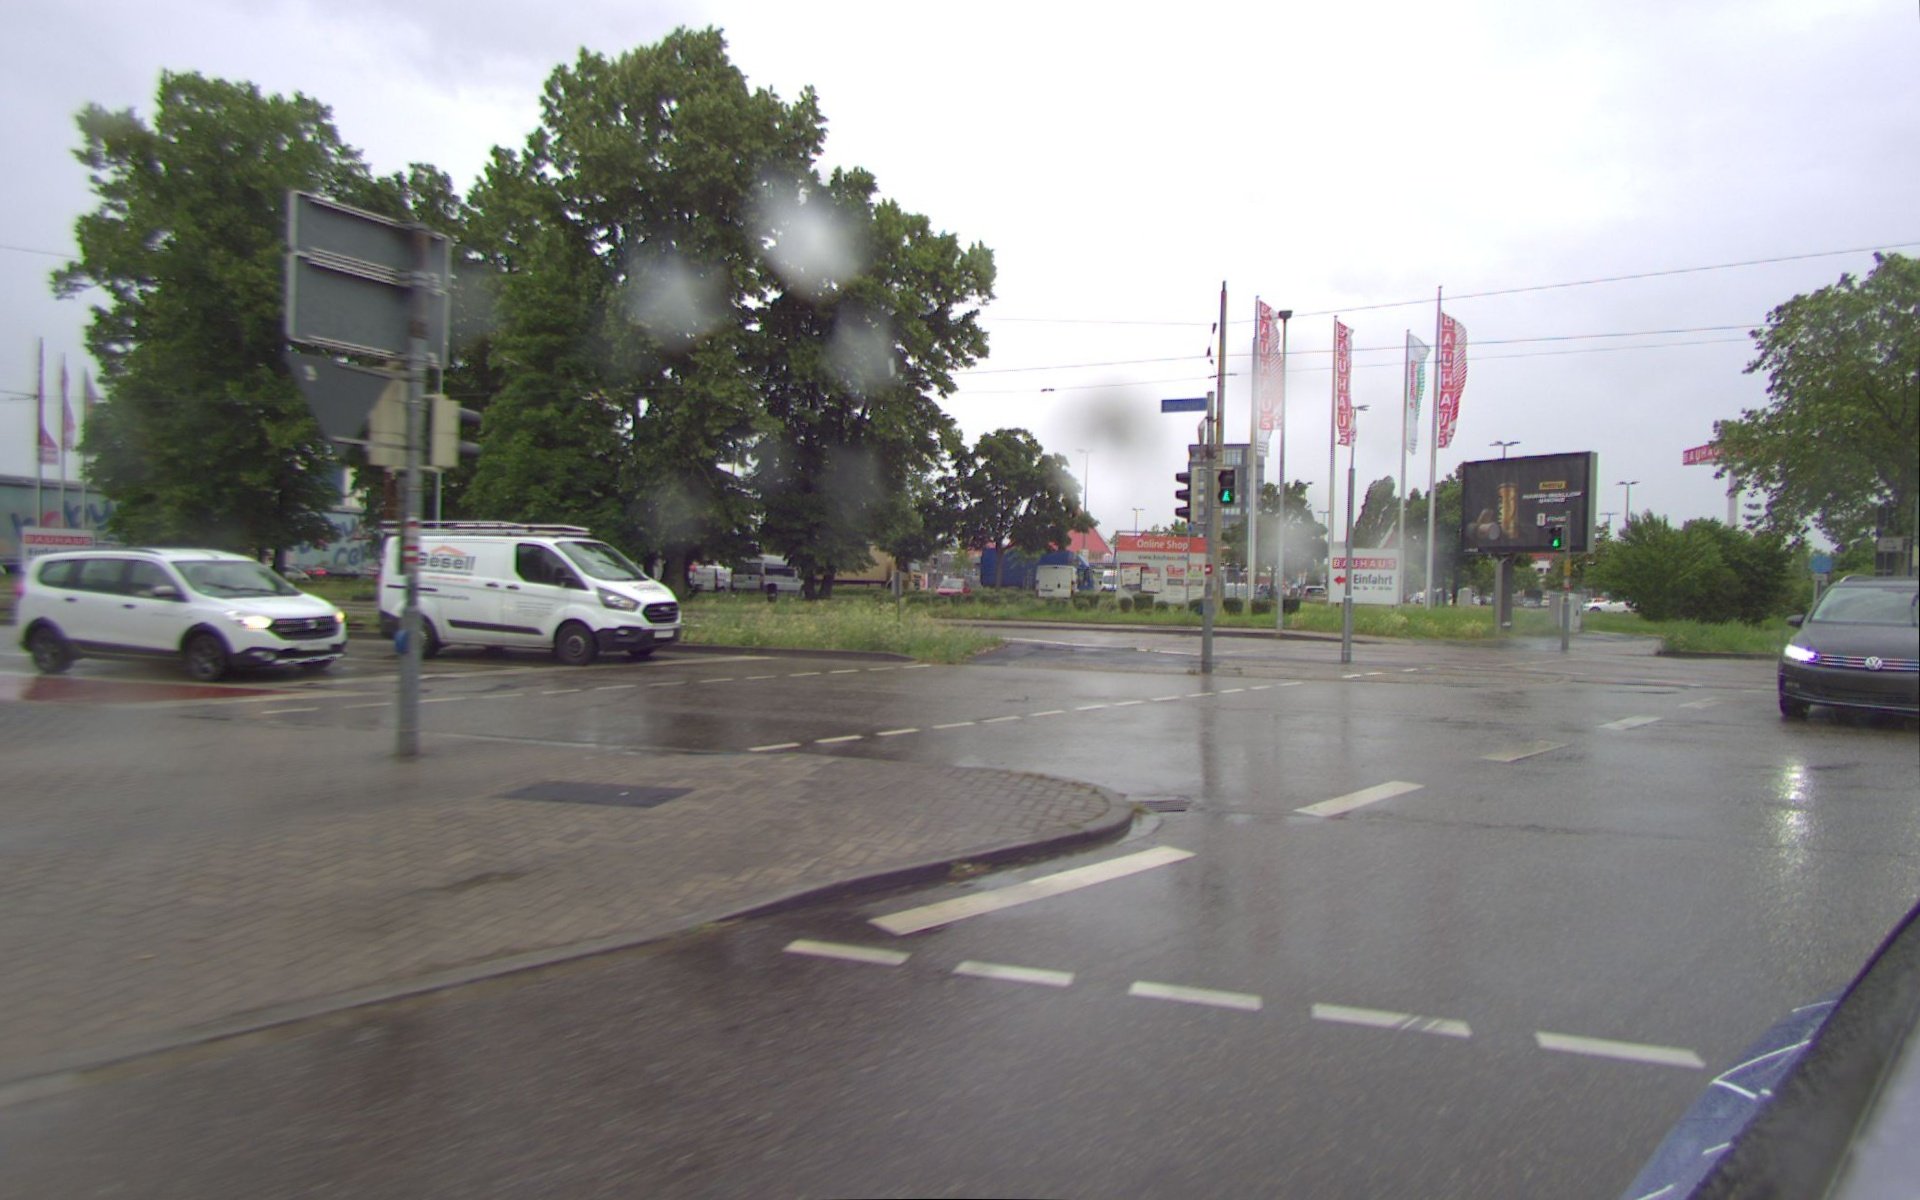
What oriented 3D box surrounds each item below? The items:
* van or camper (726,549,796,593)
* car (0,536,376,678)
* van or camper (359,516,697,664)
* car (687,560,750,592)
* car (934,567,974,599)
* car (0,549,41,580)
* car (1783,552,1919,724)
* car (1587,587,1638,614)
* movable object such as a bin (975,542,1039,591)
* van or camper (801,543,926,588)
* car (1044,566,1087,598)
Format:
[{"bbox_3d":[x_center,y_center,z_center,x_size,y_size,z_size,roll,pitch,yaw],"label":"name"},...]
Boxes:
[{"bbox_3d":[-11.078,-1.606,56.706,2.103,2.328,4.446,2,2,15],"label":"van or camper"},{"bbox_3d":[-10.619,0.033,13.915,4.394,1.693,1.861,2,1,13],"label":"car"},{"bbox_3d":[-6.884,-0.211,16.267,4.833,2.114,1.861,2,1,13],"label":"van or camper"},{"bbox_3d":[-13.831,-1.397,58.123,1.840,1.749,3.949,2,2,15],"label":"car"},{"bbox_3d":[-0.372,-0.933,54.524,1.961,1.593,4.003,1,1,-3],"label":"car"},{"bbox_3d":[-57.015,-2.081,59.693,1.785,1.801,3.756,0,1,21],"label":"car"},{"bbox_3d":[11.212,0.378,11.736,4.116,1.747,1.860,0,1,-40],"label":"car"},{"bbox_3d":[43.006,0.014,66.678,3.931,1.639,1.820,0,2,-42],"label":"car"},{"bbox_3d":[3.336,-2.335,71.679,4.189,3.325,2.318,0,1,14],"label":"movable object such as a bin"},{"bbox_3d":[-7.191,-2.542,75.418,8.852,3.197,2.973,0,1,16],"label":"van or camper"},{"bbox_3d":[5.538,-0.953,53.632,1.857,1.593,3.739,1,1,0],"label":"car"}]
